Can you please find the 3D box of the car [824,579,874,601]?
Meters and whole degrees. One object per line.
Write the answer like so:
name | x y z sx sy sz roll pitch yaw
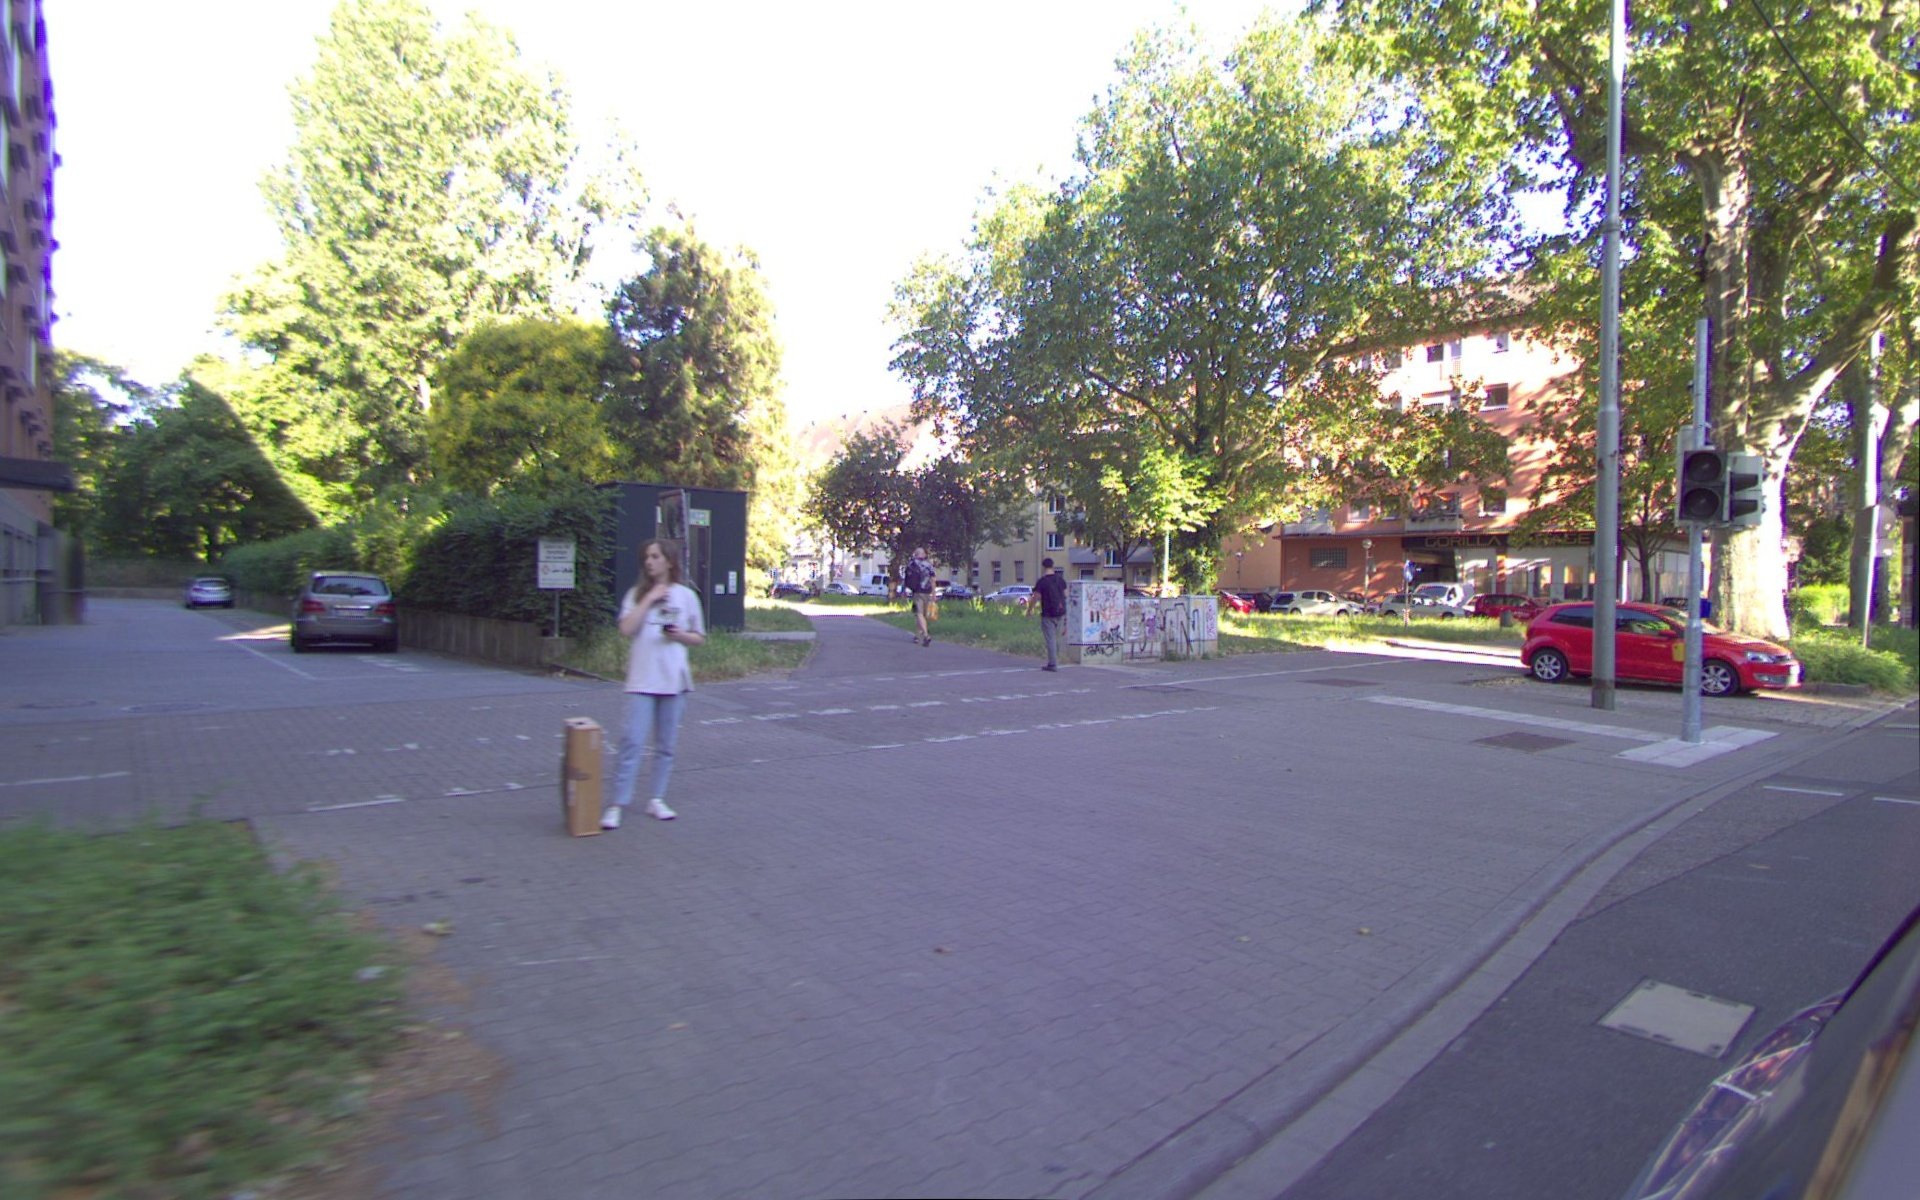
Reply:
car | -8.432 -0.750 76.624 1.769 1.529 3.994 0 1 -42

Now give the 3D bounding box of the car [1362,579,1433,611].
car | 22.798 -0.251 52.639 4.502 1.594 1.791 0 1 -44

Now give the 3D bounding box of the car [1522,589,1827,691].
car | 11.891 0.581 17.075 1.618 1.441 3.897 0 1 -36

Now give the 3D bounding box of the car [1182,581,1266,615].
car | 13.479 -0.124 51.866 1.654 1.601 3.924 0 1 -41

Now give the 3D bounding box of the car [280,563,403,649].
car | -12.805 0.081 20.833 1.759 1.584 3.998 0 1 -37

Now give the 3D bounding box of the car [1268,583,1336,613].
car | 19.369 -0.122 57.282 4.502 1.594 1.791 0 1 -44

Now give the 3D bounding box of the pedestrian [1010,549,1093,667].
pedestrian | 1.481 0.109 16.375 0.995 1.833 0.850 2 1 45

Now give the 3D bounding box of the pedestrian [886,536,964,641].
pedestrian | -0.673 -0.223 19.252 0.983 1.886 1.000 6 4 45

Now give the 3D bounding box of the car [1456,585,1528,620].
car | 26.067 0.110 49.551 4.502 1.594 1.791 0 1 -44

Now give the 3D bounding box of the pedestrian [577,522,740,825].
pedestrian | -1.824 0.400 6.115 0.725 1.690 0.653 0 1 -41

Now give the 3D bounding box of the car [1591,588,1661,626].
car | 29.859 0.280 45.314 1.790 1.594 4.505 2 1 44

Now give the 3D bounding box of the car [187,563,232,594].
car | -39.860 -1.112 53.717 1.760 1.584 3.997 0 1 -38

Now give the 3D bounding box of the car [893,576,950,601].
car | -3.094 -0.945 81.367 4.502 1.931 1.791 0 1 -44

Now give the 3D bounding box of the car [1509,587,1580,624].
car | 27.211 0.222 47.019 1.790 1.594 4.505 2 1 44

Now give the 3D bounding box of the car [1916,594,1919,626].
car | 49.320 0.546 48.746 1.782 1.562 4.421 0 1 -33

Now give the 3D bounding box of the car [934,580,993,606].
car | 0.219 -0.483 66.542 1.654 1.601 3.924 0 1 -41

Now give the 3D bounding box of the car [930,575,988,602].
car | -0.040 -0.873 77.691 4.502 1.931 1.791 0 1 -44

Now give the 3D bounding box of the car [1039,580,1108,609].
car | 6.618 -0.327 59.303 1.654 1.601 3.924 0 1 -41

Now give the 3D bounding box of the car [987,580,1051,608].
car | 3.641 -0.398 62.456 1.654 1.601 3.924 0 1 -41

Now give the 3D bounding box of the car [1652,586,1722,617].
car | 35.626 0.066 49.548 4.388 1.452 1.752 0 2 -40

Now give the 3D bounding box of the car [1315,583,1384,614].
car | 21.179 -0.073 54.948 4.502 1.594 1.791 0 1 -44

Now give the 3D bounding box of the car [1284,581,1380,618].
car | 17.425 -0.028 47.495 1.654 1.601 3.924 0 1 -41

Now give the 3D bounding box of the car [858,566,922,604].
car | -5.071 -1.119 72.831 1.942 2.594 5.037 0 1 -41

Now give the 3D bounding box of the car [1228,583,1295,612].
car | 17.549 -0.159 58.811 4.502 1.594 1.791 0 1 -44

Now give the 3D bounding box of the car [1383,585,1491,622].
car | 20.674 0.116 43.953 1.654 1.470 3.924 0 1 -41

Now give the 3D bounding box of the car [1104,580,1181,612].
car | 9.927 -0.239 55.167 1.654 1.601 3.924 0 1 -41

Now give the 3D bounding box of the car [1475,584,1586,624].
car | 22.920 0.128 40.719 1.655 1.470 3.543 0 1 -42

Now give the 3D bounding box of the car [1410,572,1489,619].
car | 24.707 -0.233 50.979 4.999 2.211 1.914 0 1 -43

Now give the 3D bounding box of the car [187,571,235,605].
car | -36.426 -0.589 49.193 1.760 1.584 3.997 0 1 -38
